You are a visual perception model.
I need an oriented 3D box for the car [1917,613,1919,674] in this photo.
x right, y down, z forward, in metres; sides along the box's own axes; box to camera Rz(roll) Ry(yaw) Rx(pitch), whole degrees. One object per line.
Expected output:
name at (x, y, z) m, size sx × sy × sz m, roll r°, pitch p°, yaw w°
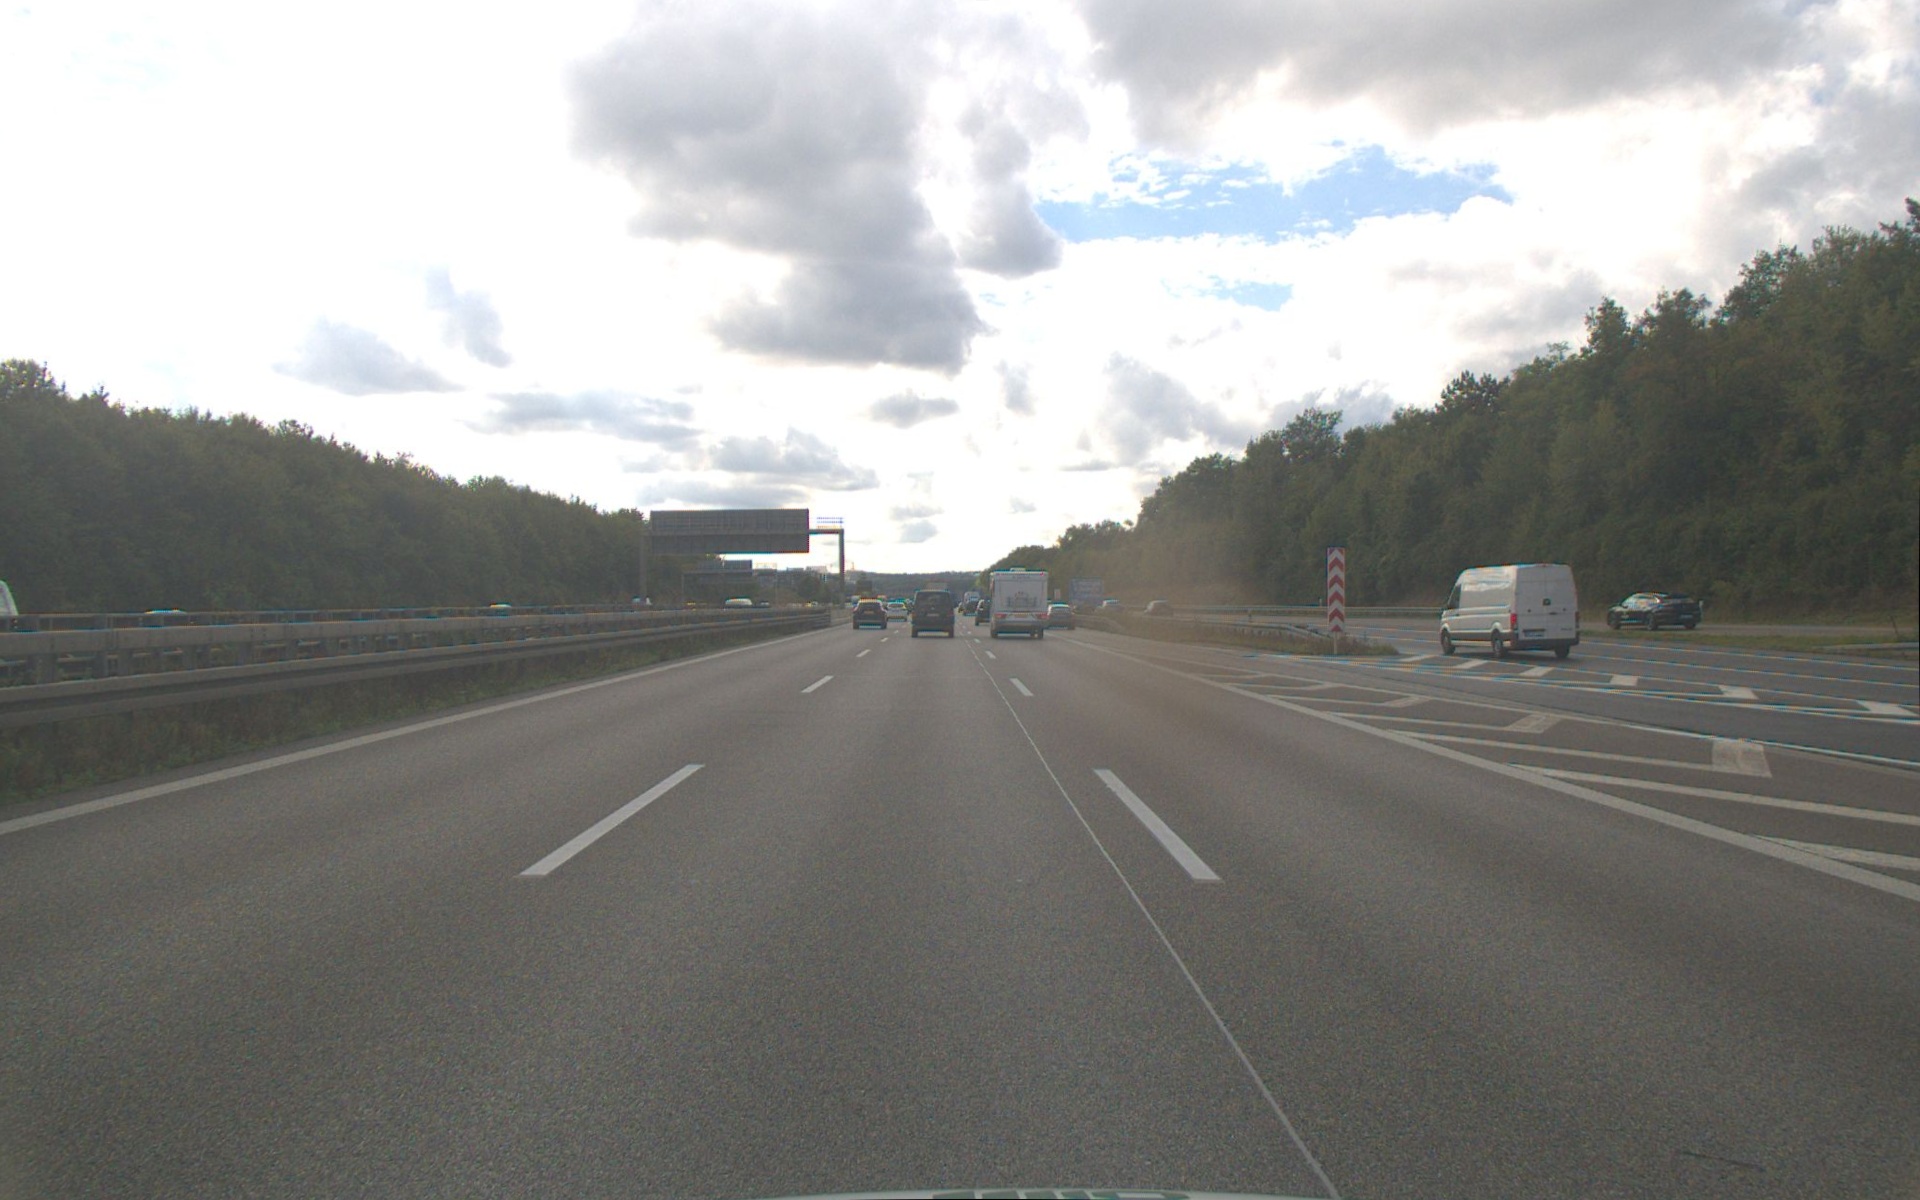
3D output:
car at (19.781, 0.868, 30.591) m, size 1.677 × 1.202 × 4.167 m, roll 0°, pitch 0°, yaw -2°

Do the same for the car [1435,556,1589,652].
car at (15.981, 0.094, 48.360) m, size 2.028 × 2.599 × 6.740 m, roll -1°, pitch 0°, yaw -2°

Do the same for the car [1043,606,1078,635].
car at (5.856, 1.167, 96.562) m, size 1.663 × 1.639 × 3.894 m, roll 0°, pitch 0°, yaw -2°

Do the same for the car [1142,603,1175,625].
car at (14.921, 1.015, 124.260) m, size 1.806 × 1.510 × 4.524 m, roll -2°, pitch 0°, yaw -1°

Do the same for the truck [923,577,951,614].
truck at (-2.815, -0.510, 203.135) m, size 3.196 × 4.451 × 11.024 m, roll 1°, pitch 0°, yaw -1°

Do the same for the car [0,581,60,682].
car at (-16.677, 0.517, 26.476) m, size 1.773 × 1.665 × 5.008 m, roll 0°, pitch 0°, yaw 0°

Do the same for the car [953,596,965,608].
car at (-0.181, 0.361, 243.002) m, size 1.716 × 1.725 × 4.189 m, roll 0°, pitch 0°, yaw -1°

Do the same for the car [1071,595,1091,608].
car at (14.138, 0.175, 193.812) m, size 1.806 × 1.510 × 4.523 m, roll -2°, pitch 0°, yaw -2°

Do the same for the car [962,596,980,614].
car at (1.230, 0.577, 187.612) m, size 1.874 × 1.952 × 4.029 m, roll 0°, pitch 0°, yaw -1°

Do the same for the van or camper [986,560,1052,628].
van or camper at (2.482, -0.260, 71.978) m, size 2.419 × 2.769 × 7.659 m, roll 1°, pitch 0°, yaw -1°

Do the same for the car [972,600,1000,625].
car at (1.683, 0.810, 109.731) m, size 1.663 × 1.592 × 4.112 m, roll 0°, pitch 0°, yaw -2°

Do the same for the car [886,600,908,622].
car at (-4.803, 0.851, 126.099) m, size 1.663 × 1.639 × 4.112 m, roll 0°, pitch 0°, yaw -2°

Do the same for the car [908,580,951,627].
car at (-1.325, 0.152, 71.590) m, size 1.817 × 1.944 × 4.258 m, roll 0°, pitch 0°, yaw -1°

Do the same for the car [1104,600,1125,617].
car at (14.693, 0.780, 157.819) m, size 1.509 × 1.510 × 3.941 m, roll -2°, pitch 0°, yaw -1°

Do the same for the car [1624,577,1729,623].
car at (27.515, -0.021, 63.653) m, size 1.806 × 1.630 × 4.762 m, roll -2°, pitch 0°, yaw -2°

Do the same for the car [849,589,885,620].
car at (-5.180, 0.263, 92.325) m, size 1.835 × 1.728 × 4.071 m, roll 0°, pitch 0°, yaw -1°
